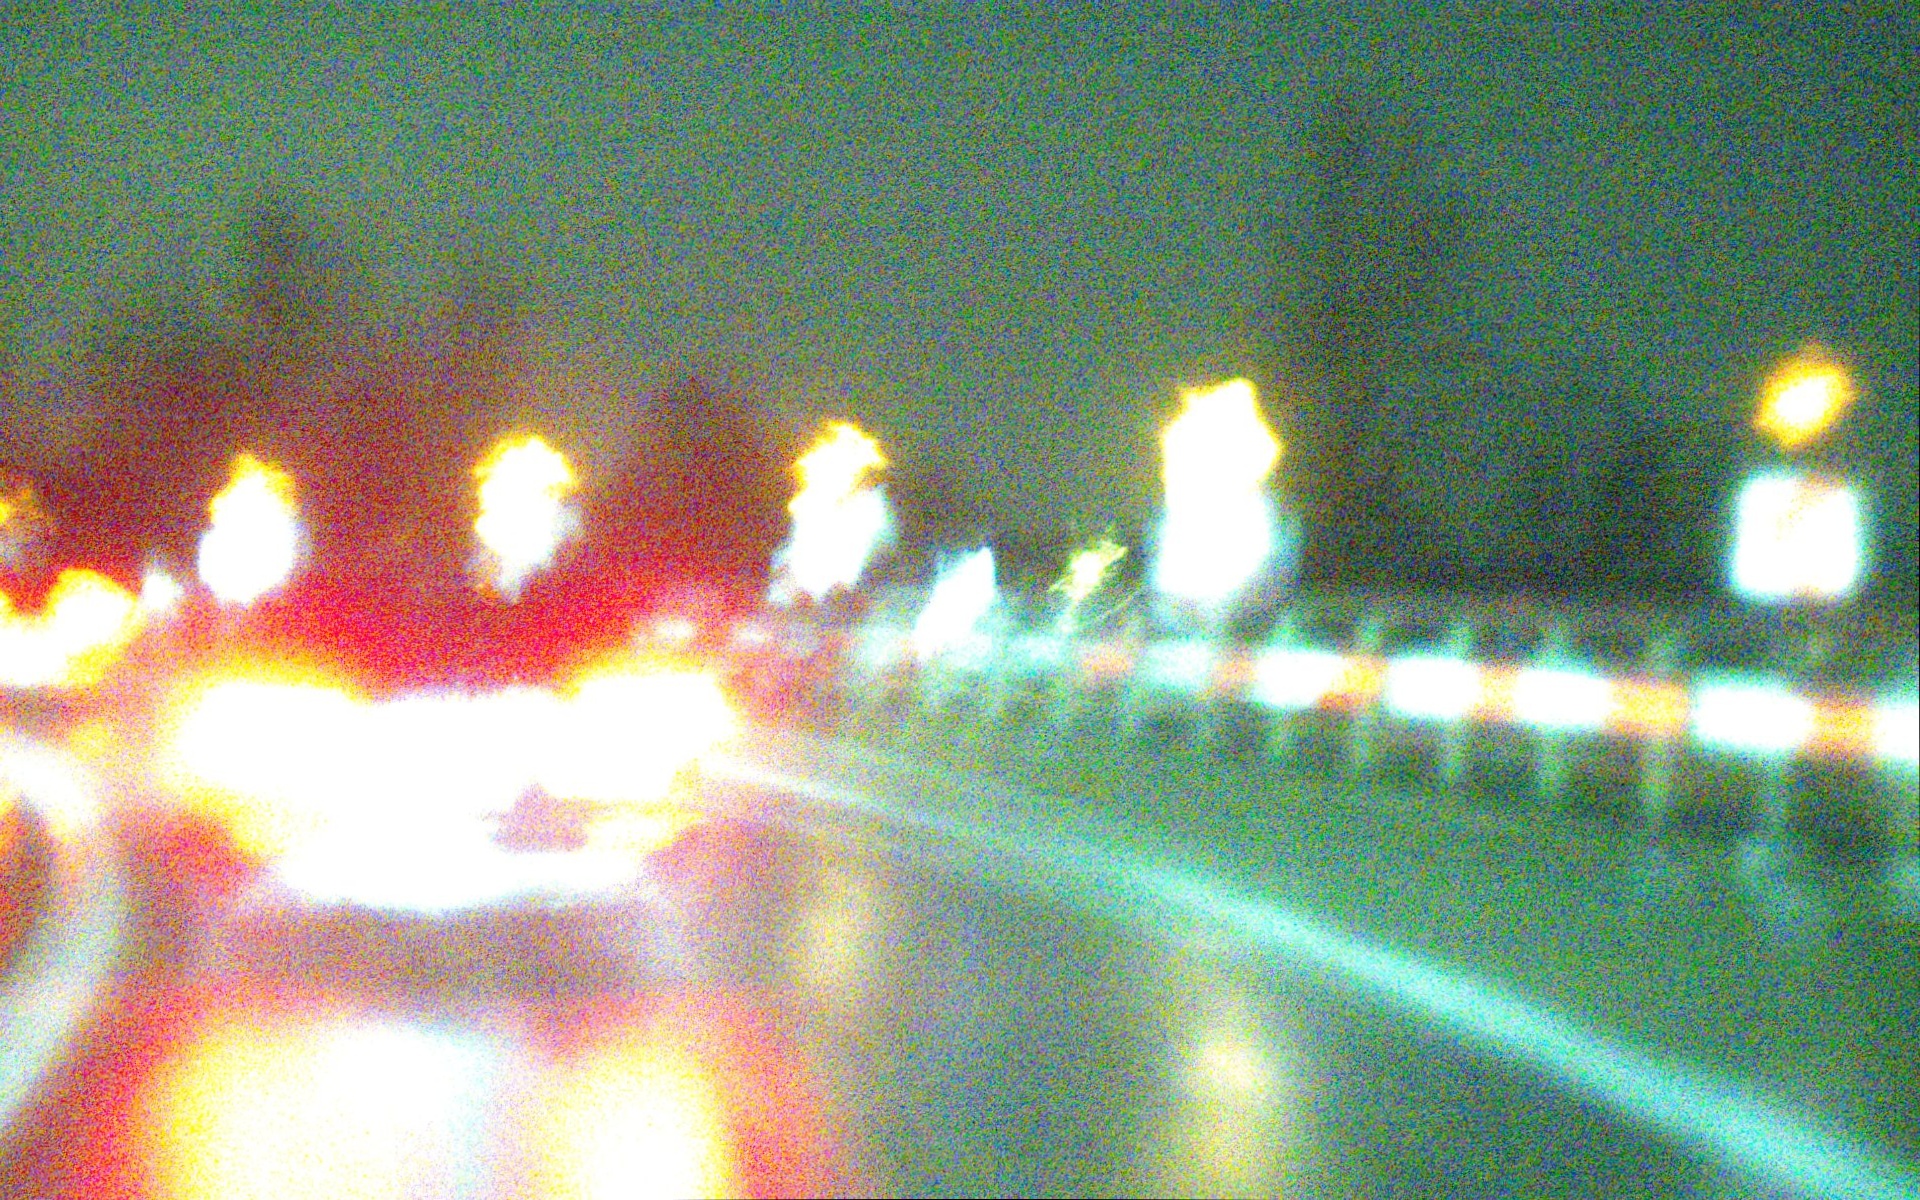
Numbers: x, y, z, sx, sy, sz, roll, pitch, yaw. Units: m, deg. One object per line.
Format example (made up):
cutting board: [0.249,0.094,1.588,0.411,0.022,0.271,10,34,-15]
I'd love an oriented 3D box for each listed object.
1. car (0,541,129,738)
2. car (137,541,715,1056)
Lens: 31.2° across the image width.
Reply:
car: [-9.005,0.310,31.915,1.895,1.714,4.047,1,1,-22]
car: [-2.113,0.606,13.313,1.860,1.641,4.070,-1,1,-11]
